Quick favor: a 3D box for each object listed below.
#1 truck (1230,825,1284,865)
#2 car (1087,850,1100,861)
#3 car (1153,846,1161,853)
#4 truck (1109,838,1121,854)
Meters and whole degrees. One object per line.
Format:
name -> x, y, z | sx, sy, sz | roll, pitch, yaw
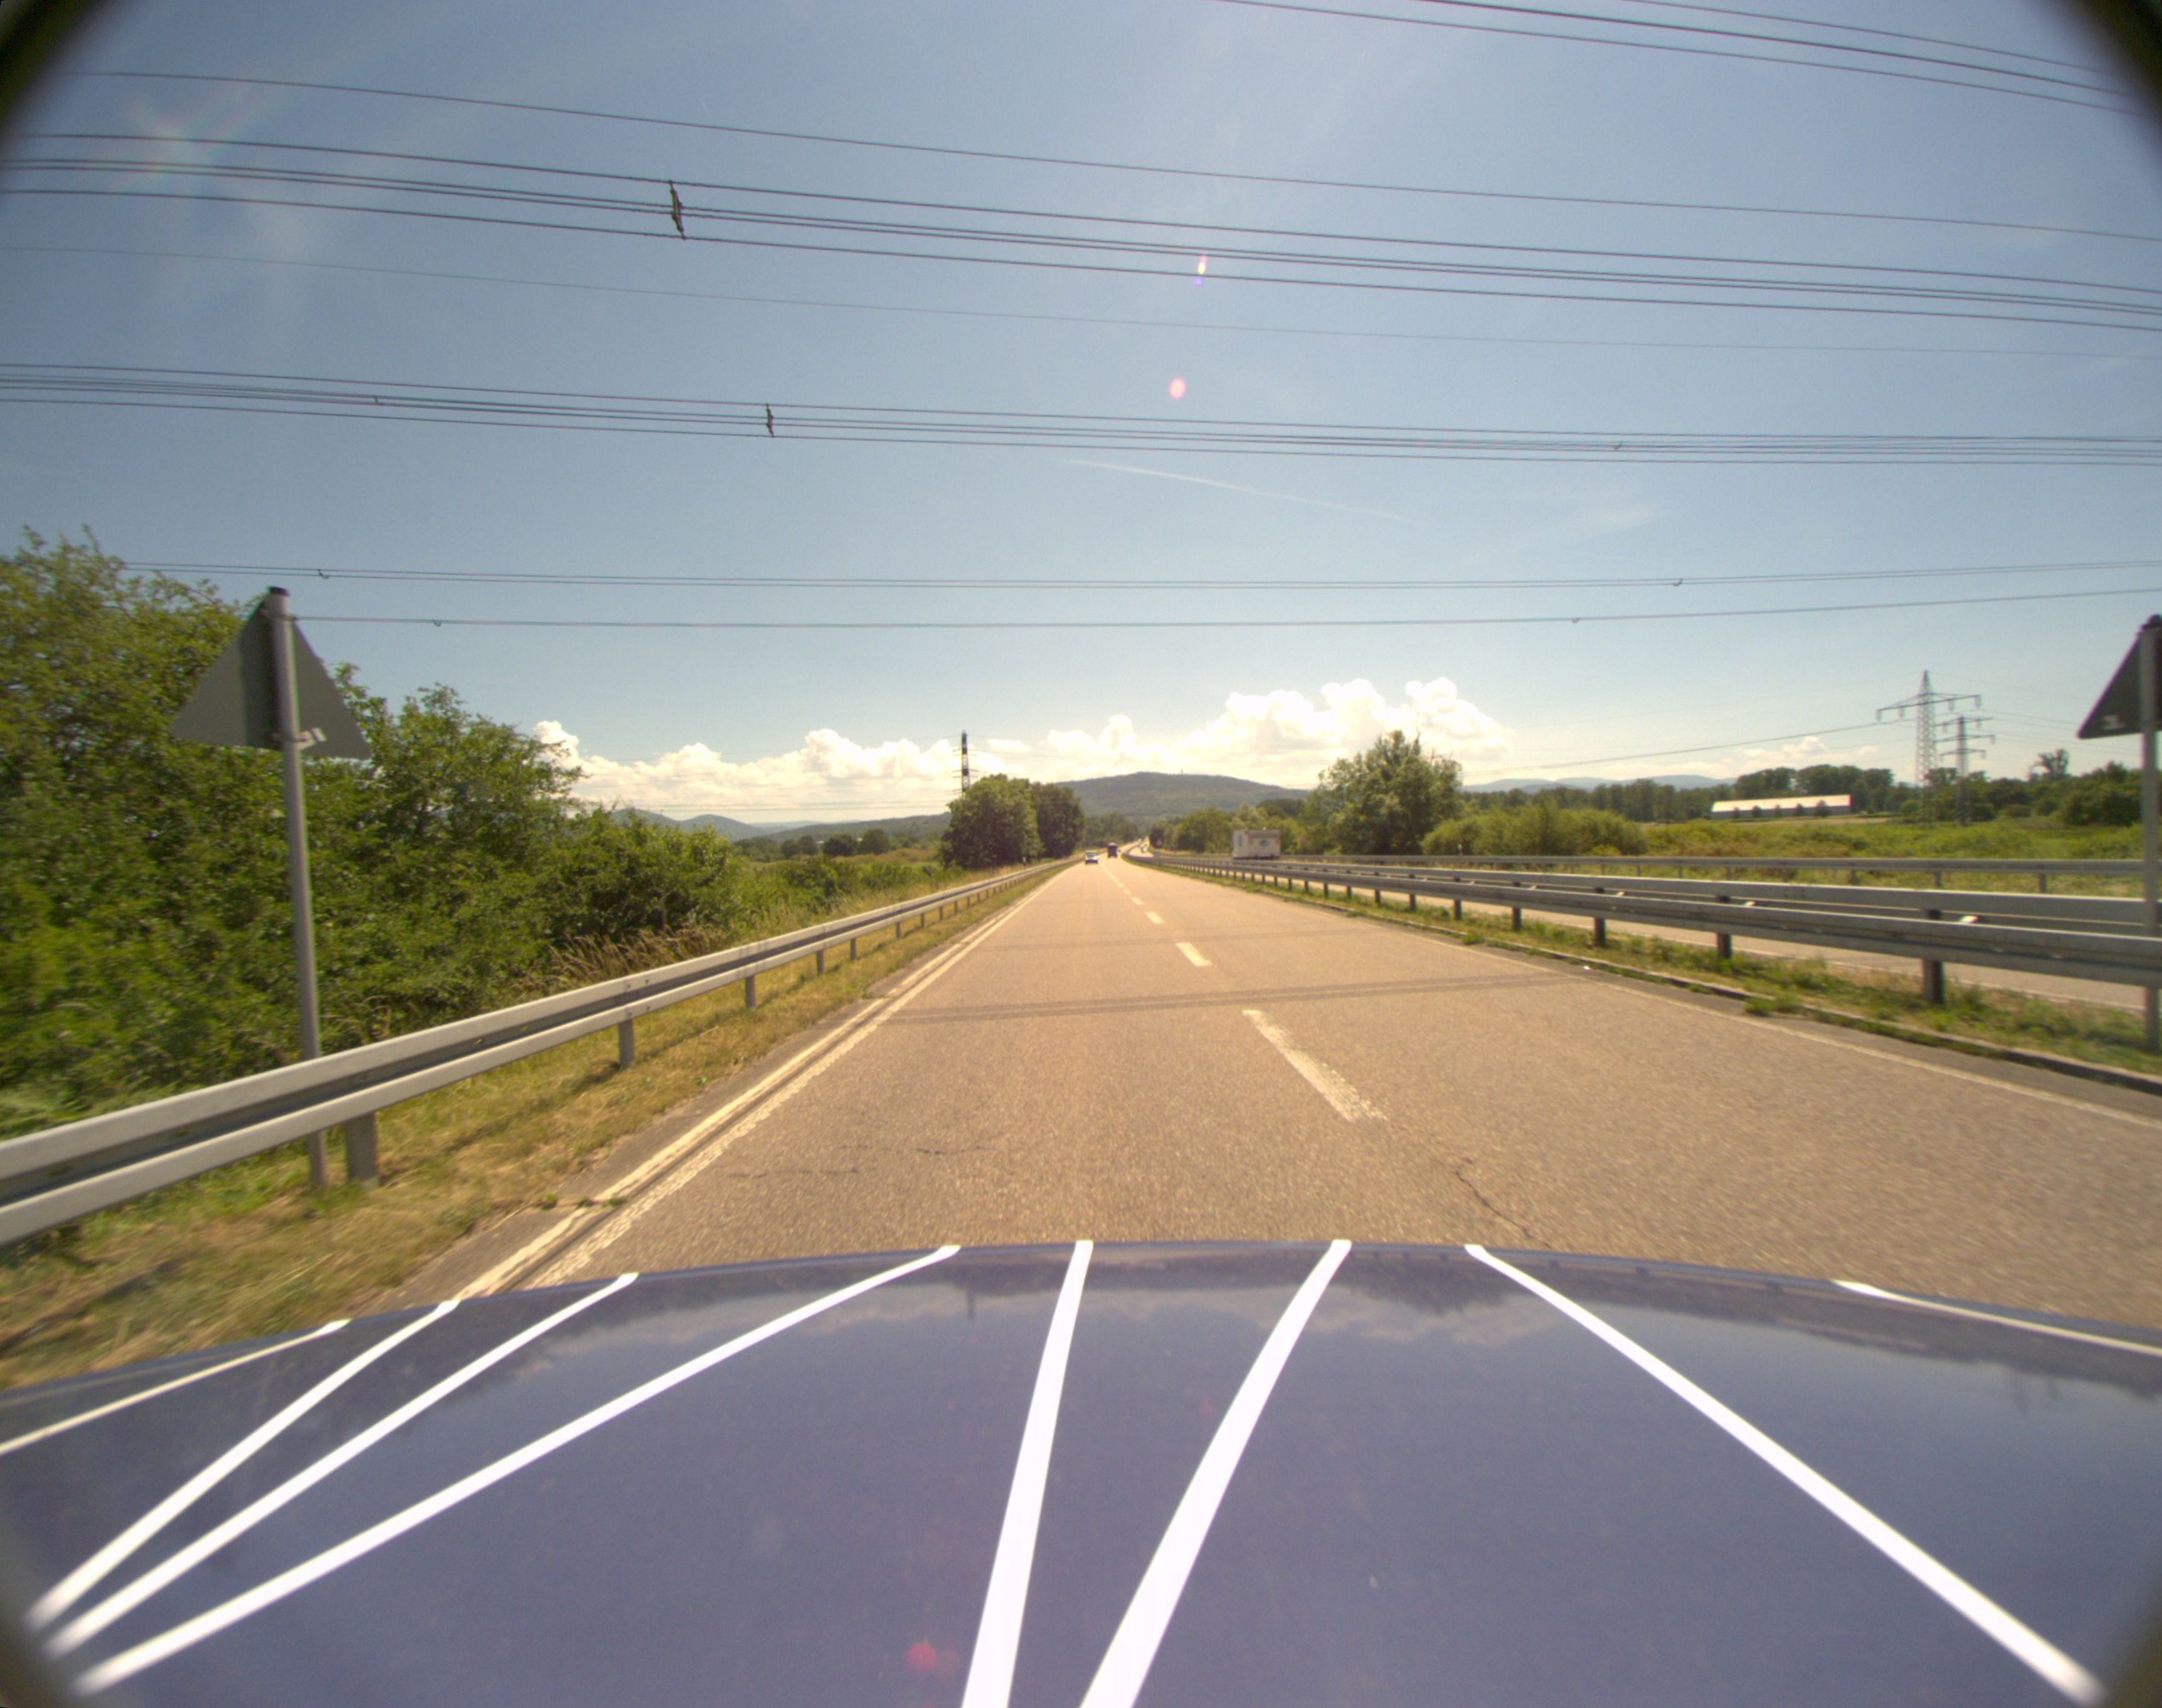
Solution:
truck -> 14.923, -0.763, 65.059 | 2.725, 3.174, 8.404 | -1, 0, 1
car -> 1.836, 0.237, 107.564 | 1.577, 1.387, 3.486 | -2, 1, 5
car -> 17.513, -0.994, 175.476 | 1.536, 1.441, 3.701 | -2, 0, 1
truck -> 9.034, -2.202, 200.595 | 2.826, 4.143, 9.950 | -2, 1, 5
